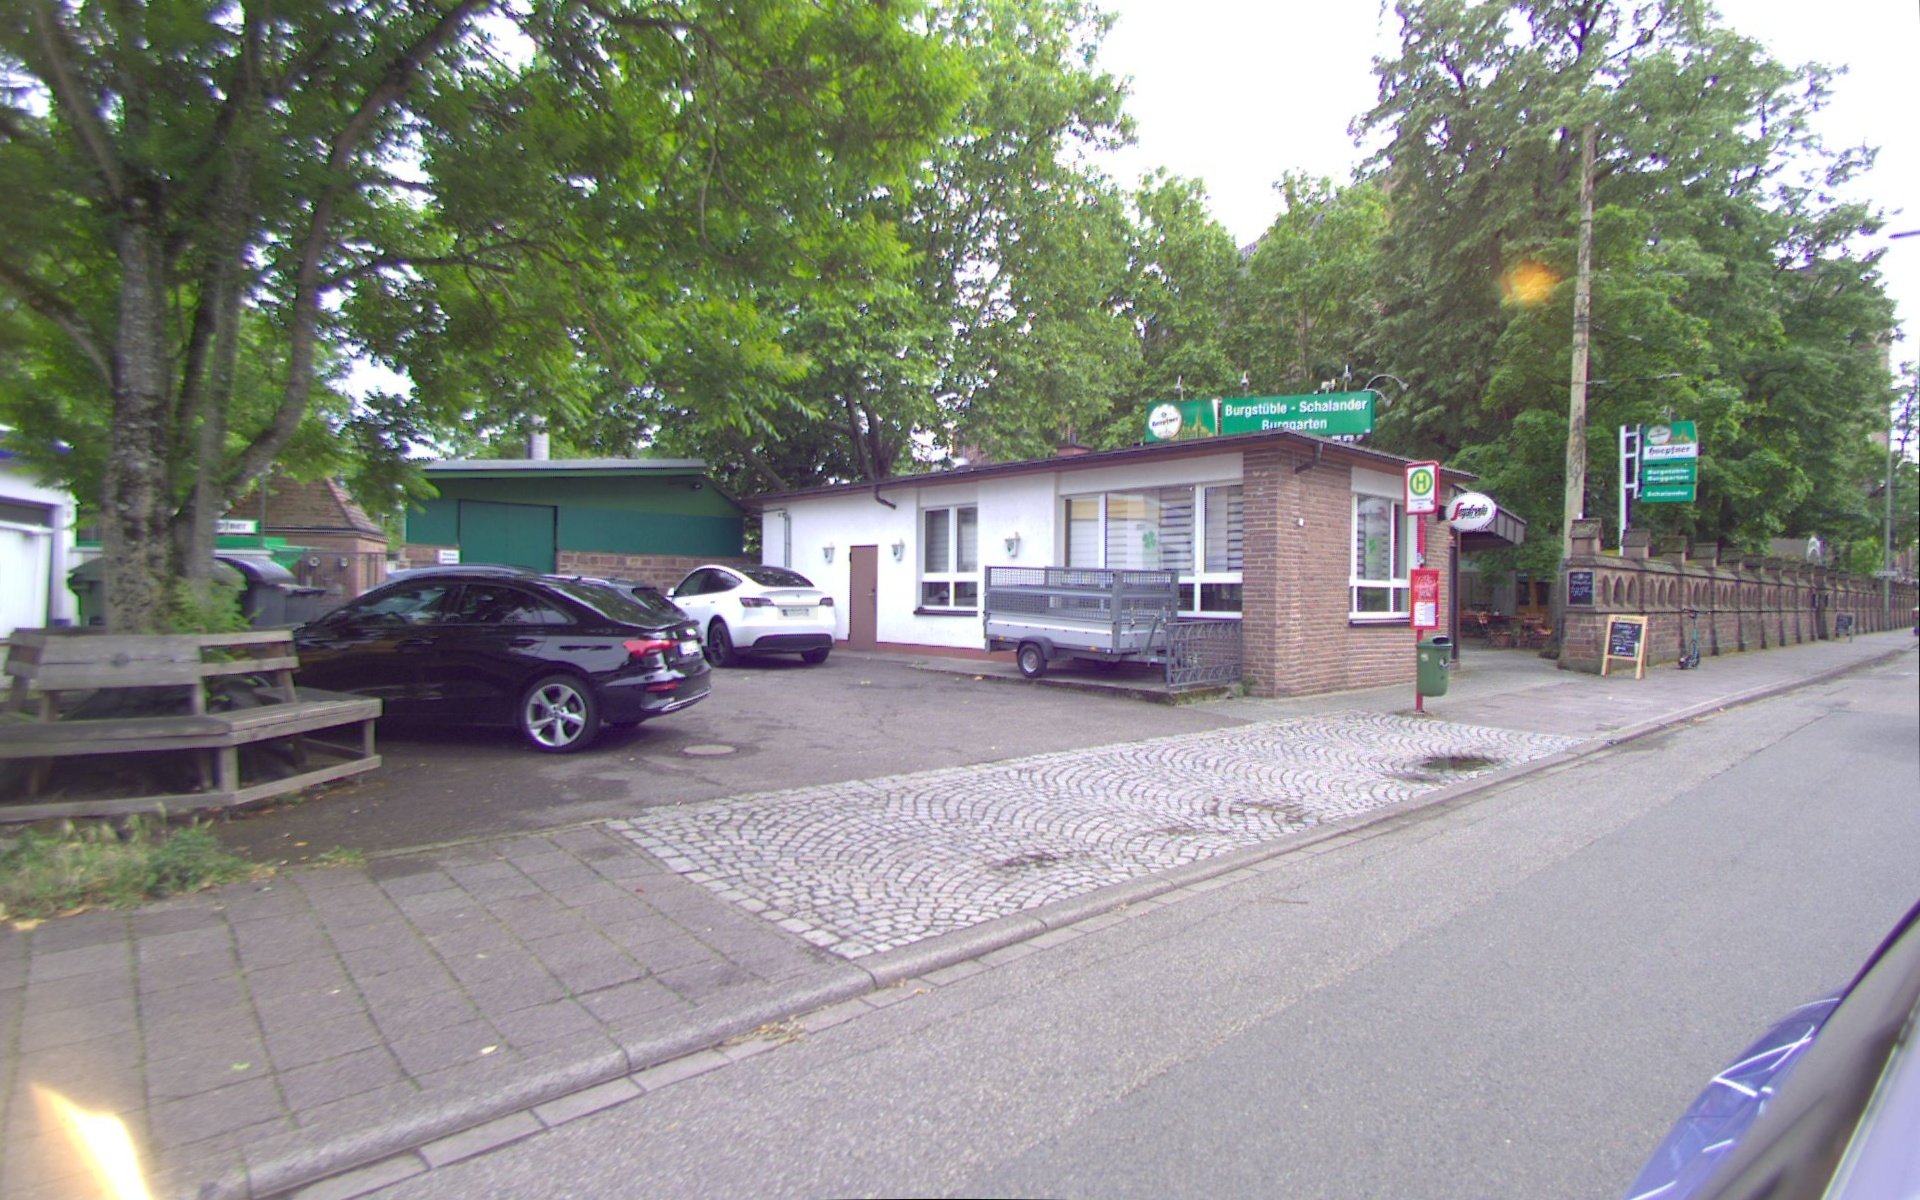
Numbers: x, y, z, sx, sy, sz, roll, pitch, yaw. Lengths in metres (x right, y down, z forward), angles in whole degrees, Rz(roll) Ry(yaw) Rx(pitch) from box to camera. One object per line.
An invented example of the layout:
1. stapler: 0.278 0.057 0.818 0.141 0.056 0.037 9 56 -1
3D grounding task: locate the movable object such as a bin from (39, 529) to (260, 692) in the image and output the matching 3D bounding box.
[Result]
1. movable object such as a bin: -8.522 0.109 10.742 1.103 1.533 1.422 4 -1 -1

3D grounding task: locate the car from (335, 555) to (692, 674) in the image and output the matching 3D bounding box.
1. car: -6.429 0.194 15.021 4.403 1.477 1.987 2 0 -3

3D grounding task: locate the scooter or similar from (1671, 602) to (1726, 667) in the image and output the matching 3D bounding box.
1. scooter or similar: 15.187 0.694 20.811 1.386 1.254 0.578 0 4 -42

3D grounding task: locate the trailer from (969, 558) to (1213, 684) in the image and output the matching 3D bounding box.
1. trailer: 1.760 0.234 14.212 1.593 1.558 3.167 0 1 -41

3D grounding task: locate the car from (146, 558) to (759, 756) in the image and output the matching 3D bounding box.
1. car: -4.257 0.434 9.017 4.499 1.425 1.934 2 1 2

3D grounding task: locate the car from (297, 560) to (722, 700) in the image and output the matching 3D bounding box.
1. car: -5.415 0.305 12.579 4.456 1.444 1.879 2 3 1

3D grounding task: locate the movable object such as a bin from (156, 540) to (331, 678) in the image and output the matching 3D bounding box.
1. movable object such as a bin: -8.518 0.117 12.116 1.102 1.510 1.294 3 -2 -2

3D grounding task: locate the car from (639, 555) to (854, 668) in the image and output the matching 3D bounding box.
1. car: -3.776 0.138 17.303 1.954 1.667 4.437 0 1 -37
